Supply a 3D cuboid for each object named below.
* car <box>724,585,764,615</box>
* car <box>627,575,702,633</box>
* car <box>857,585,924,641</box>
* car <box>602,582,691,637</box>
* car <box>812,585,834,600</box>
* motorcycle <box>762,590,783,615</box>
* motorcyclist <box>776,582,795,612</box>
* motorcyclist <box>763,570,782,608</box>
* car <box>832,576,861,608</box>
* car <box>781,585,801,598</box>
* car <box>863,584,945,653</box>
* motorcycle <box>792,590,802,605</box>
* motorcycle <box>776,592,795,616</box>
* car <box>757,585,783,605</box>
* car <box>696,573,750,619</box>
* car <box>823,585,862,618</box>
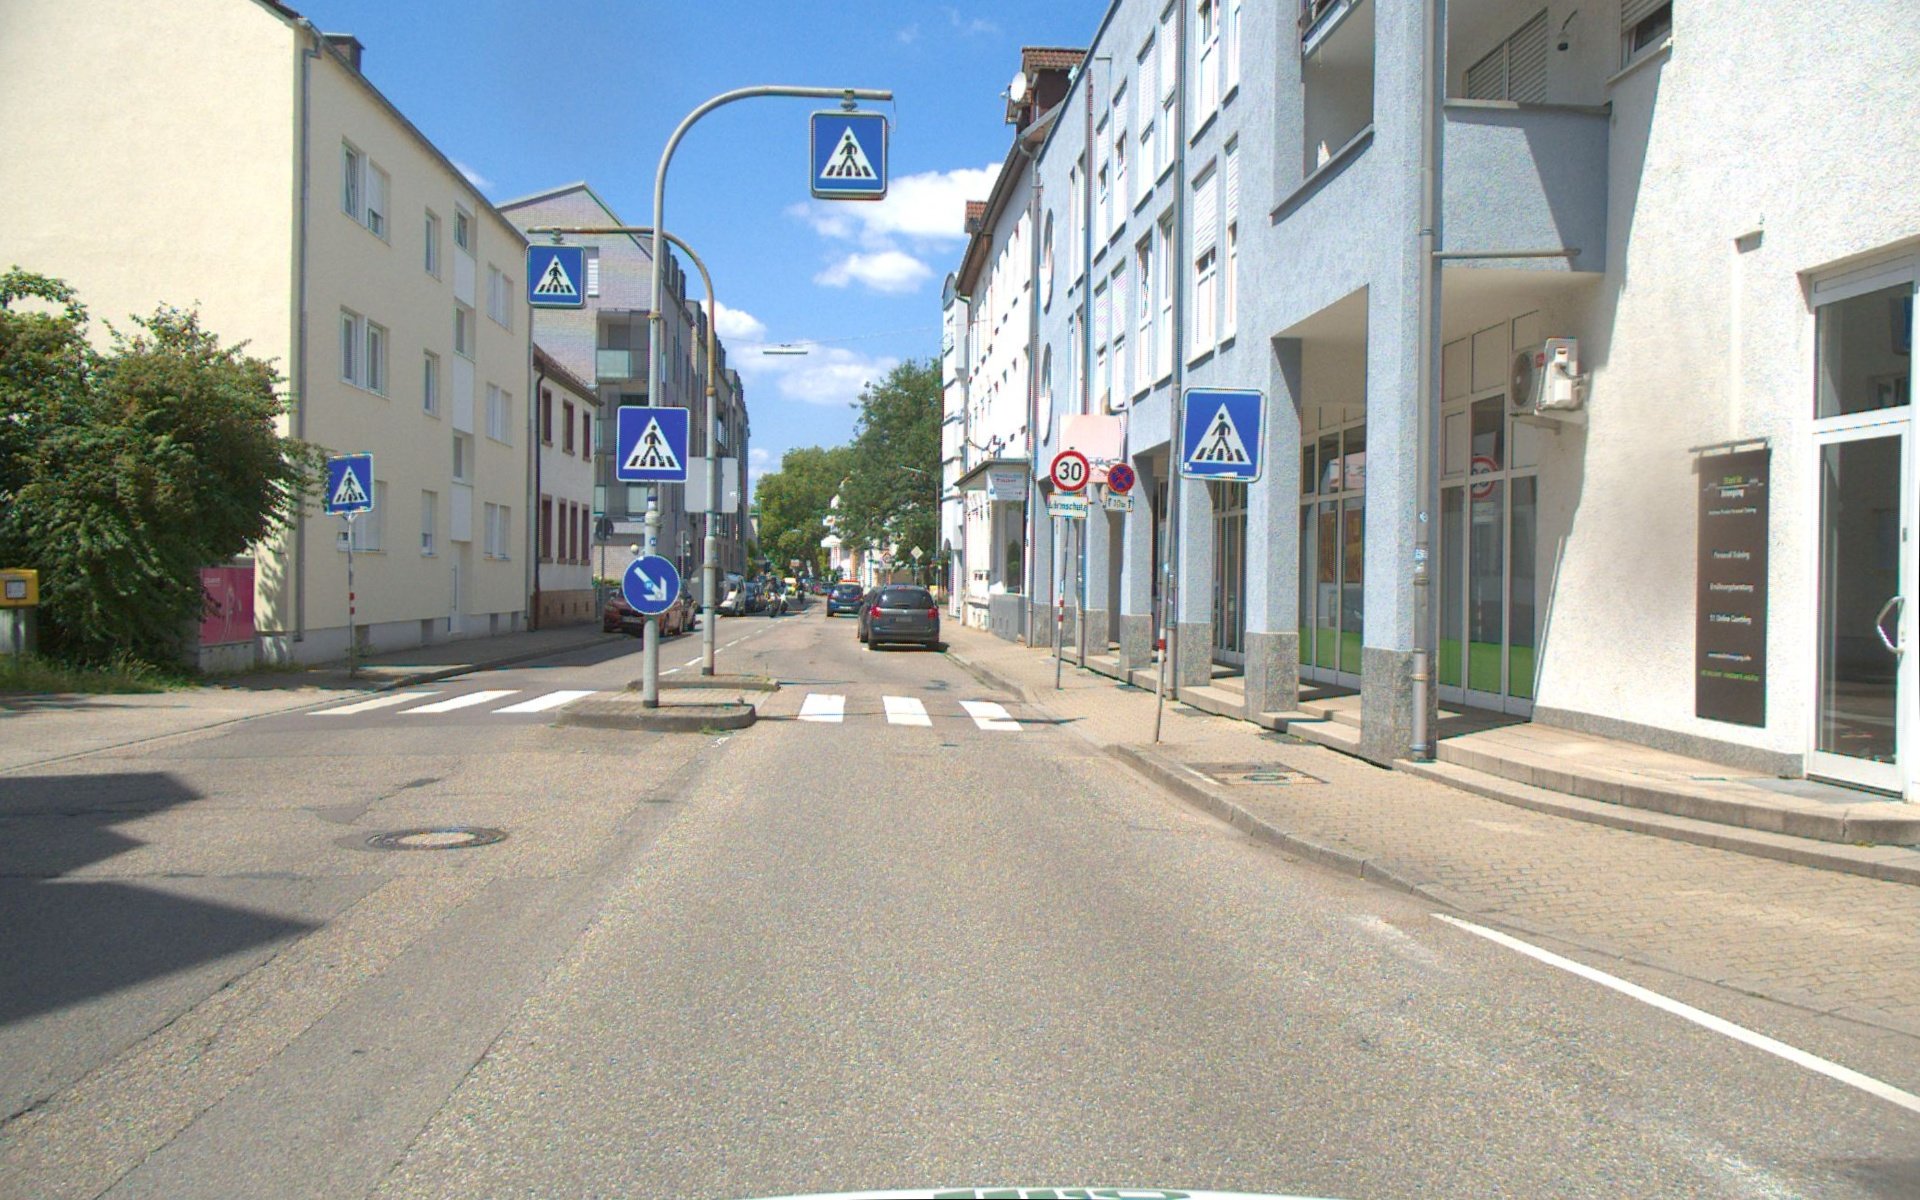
[{"bbox_3d":[-11.329,-0.023,86.934,1.689,1.481,4.003,2,0,-3],"label":"car"},{"bbox_3d":[-9.154,0.105,51.477,1.759,1.675,3.942,2,0,-3],"label":"car"},{"bbox_3d":[-1.968,0.320,45.699,1.695,1.445,4.541,1,0,-4],"label":"car"},{"bbox_3d":[-8.756,0.237,46.543,1.797,1.441,4.288,1,0,-2],"label":"car"},{"bbox_3d":[-15.508,-0.871,187.033,1.958,1.646,3.990,1,0,-11],"label":"car"},{"bbox_3d":[-8.276,0.100,72.977,0.698,1.046,2.239,0,1,0],"label":"motorcycle"},{"bbox_3d":[-8.834,-0.174,83.783,0.898,1.506,1.202,1,0,-4],"label":"motorcyclist"},{"bbox_3d":[-8.277,-0.471,73.026,0.698,1.663,1.068,0,1,-1],"label":"motorcyclist"},{"bbox_3d":[-7.419,-0.525,108.348,1.802,2.049,3.997,1,1,-4],"label":"car"},{"bbox_3d":[-18.569,-0.936,181.844,1.954,1.405,4.391,3,0,-2],"label":"car"},{"bbox_3d":[-1.377,0.411,39.529,1.677,1.534,3.995,1,0,-6],"label":"car"},{"bbox_3d":[-12.377,-0.174,125.691,0.674,1.142,2.026,0,0,-4],"label":"motorcycle"},{"bbox_3d":[-8.847,0.193,83.825,0.878,1.196,2.206,1,0,-4],"label":"motorcycle"},{"bbox_3d":[-13.992,-0.383,121.960,1.698,1.467,3.996,1,0,-5],"label":"car"},{"bbox_3d":[-10.606,-0.201,74.138,1.721,1.925,4.336,3,1,0],"label":"car"},{"bbox_3d":[-5.270,0.044,74.565,1.681,1.426,3.997,1,1,-4],"label":"car"}]
